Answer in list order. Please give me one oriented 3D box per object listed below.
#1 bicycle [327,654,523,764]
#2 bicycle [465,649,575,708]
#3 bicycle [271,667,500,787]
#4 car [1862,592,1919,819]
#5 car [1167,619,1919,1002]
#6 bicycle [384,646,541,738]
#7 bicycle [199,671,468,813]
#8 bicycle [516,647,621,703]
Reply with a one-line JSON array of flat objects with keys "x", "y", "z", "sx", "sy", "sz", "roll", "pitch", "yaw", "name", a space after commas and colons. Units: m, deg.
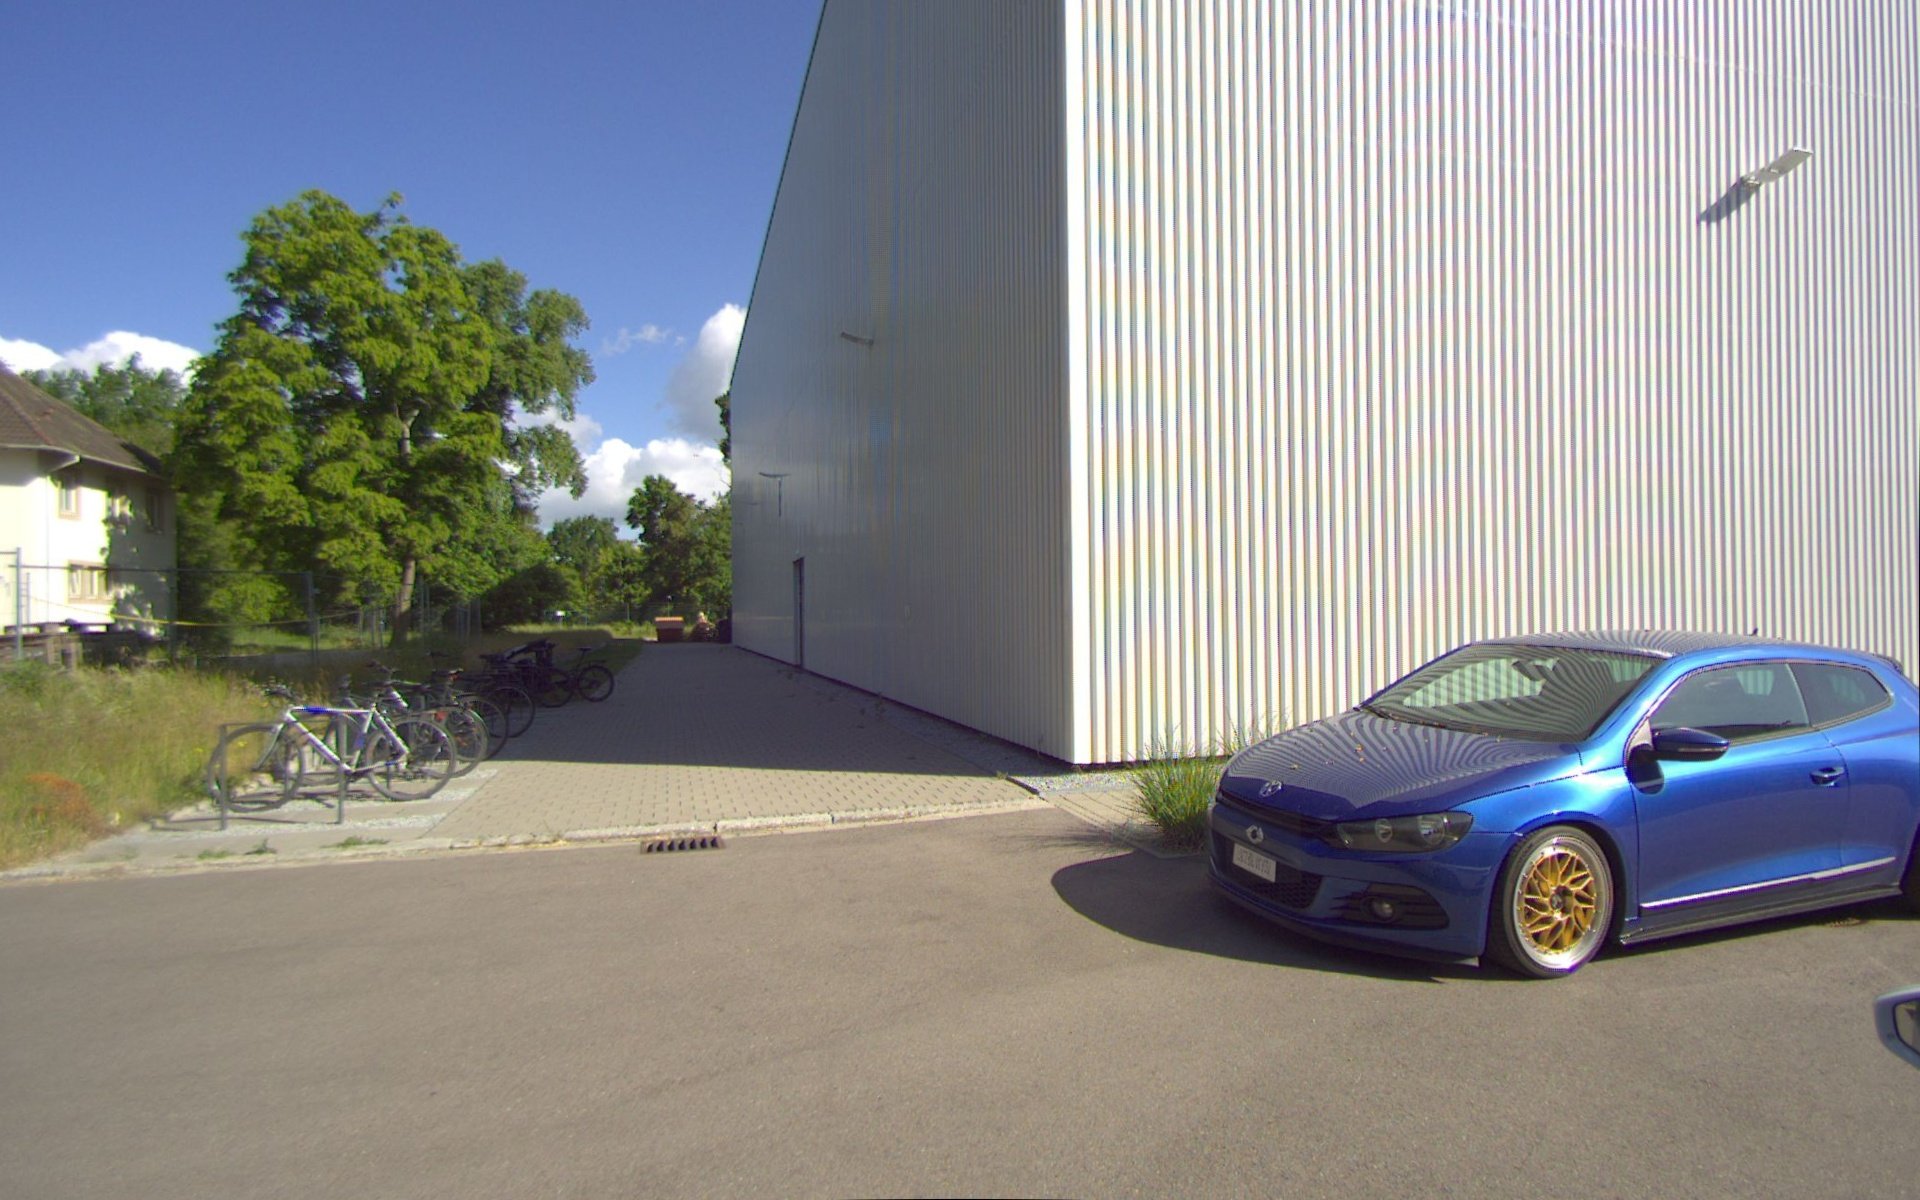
[{"x": -5.660, "y": 1.133, "z": 10.736, "sx": 1.805, "sy": 1.051, "sz": 0.479, "roll": 0, "pitch": 0, "yaw": -23, "name": "bicycle"}, {"x": -7.906, "y": 1.393, "z": 18.093, "sx": 1.788, "sy": 0.973, "sz": 0.479, "roll": 0, "pitch": 0, "yaw": -23, "name": "bicycle"}, {"x": -5.334, "y": 1.160, "z": 9.437, "sx": 1.808, "sy": 0.973, "sz": 0.479, "roll": 0, "pitch": 0, "yaw": -23, "name": "bicycle"}, {"x": 8.493, "y": 0.715, "z": 6.891, "sx": 4.030, "sy": 1.520, "sz": 1.629, "roll": 0, "pitch": 2, "yaw": -18, "name": "car"}, {"x": 3.283, "y": 0.815, "z": 5.224, "sx": 3.989, "sy": 1.379, "sz": 1.773, "roll": 0, "pitch": 0, "yaw": -18, "name": "car"}, {"x": -6.511, "y": 1.181, "z": 13.236, "sx": 1.809, "sy": 1.103, "sz": 0.479, "roll": 0, "pitch": 0, "yaw": -23, "name": "bicycle"}, {"x": -5.068, "y": 1.124, "z": 8.254, "sx": 1.809, "sy": 1.000, "sz": 0.479, "roll": 0, "pitch": 0, "yaw": -23, "name": "bicycle"}, {"x": -7.343, "y": 1.397, "z": 18.885, "sx": 1.809, "sy": 0.973, "sz": 0.479, "roll": 0, "pitch": 0, "yaw": -23, "name": "bicycle"}]
